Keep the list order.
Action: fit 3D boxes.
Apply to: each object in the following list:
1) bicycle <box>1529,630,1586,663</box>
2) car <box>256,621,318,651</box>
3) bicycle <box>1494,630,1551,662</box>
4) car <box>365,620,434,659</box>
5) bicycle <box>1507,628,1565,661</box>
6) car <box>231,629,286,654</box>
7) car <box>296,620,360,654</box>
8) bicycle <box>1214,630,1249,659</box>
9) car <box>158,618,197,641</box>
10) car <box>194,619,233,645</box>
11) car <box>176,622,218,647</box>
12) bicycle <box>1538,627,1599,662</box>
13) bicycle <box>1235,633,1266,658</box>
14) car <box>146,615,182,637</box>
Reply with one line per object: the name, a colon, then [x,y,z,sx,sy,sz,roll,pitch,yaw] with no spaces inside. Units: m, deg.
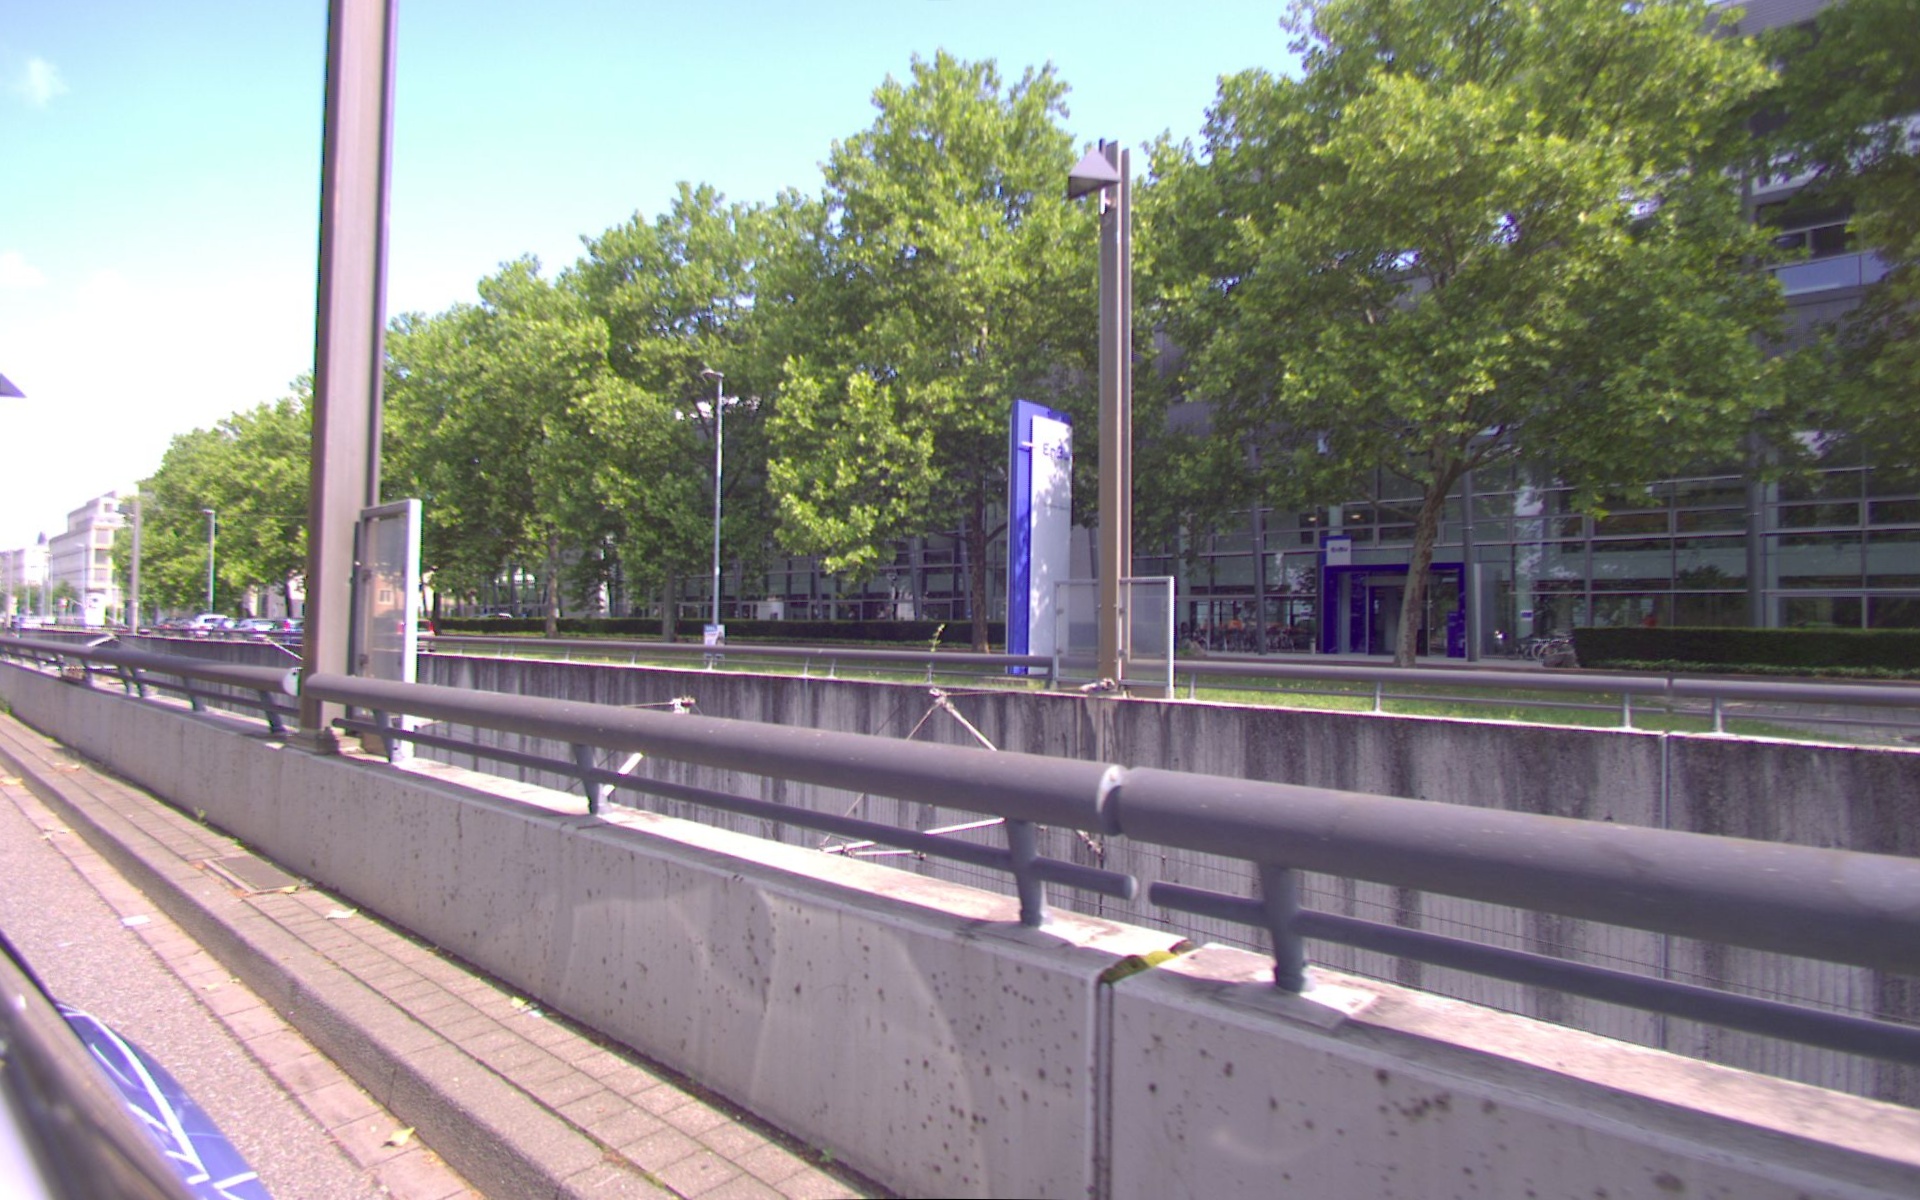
bicycle: [21.533,1.676,36.468,2.232,1.158,0.638,1,-2,-25]
car: [-32.803,1.726,49.300,3.895,1.387,1.559,-1,-2,42]
bicycle: [20.917,1.704,37.633,2.232,1.158,0.638,1,-2,-24]
car: [-22.254,1.554,40.164,3.156,1.467,1.402,-1,-2,42]
bicycle: [21.110,1.631,37.081,2.232,1.158,0.638,1,-2,-24]
car: [-35.977,2.108,51.862,3.126,1.215,1.590,-1,-2,41]
car: [-27.729,1.597,44.389,3.156,1.445,1.561,-1,-2,42]
bicycle: [11.784,1.915,43.983,0.802,1.186,2.339,0,-1,-2]
car: [-48.059,1.782,62.125,3.184,1.387,1.292,-1,-2,42]
car: [-40.983,1.755,55.560,2.744,1.387,1.152,-1,-2,42]
car: [-43.897,1.955,58.198,3.184,1.387,1.292,-1,-2,42]
bicycle: [21.123,1.540,35.129,2.232,1.158,0.638,1,-1,-24]
bicycle: [12.613,1.953,43.973,0.586,1.031,2.339,0,-1,-2]
car: [-51.586,1.703,65.563,3.184,1.387,1.292,-1,-2,42]
